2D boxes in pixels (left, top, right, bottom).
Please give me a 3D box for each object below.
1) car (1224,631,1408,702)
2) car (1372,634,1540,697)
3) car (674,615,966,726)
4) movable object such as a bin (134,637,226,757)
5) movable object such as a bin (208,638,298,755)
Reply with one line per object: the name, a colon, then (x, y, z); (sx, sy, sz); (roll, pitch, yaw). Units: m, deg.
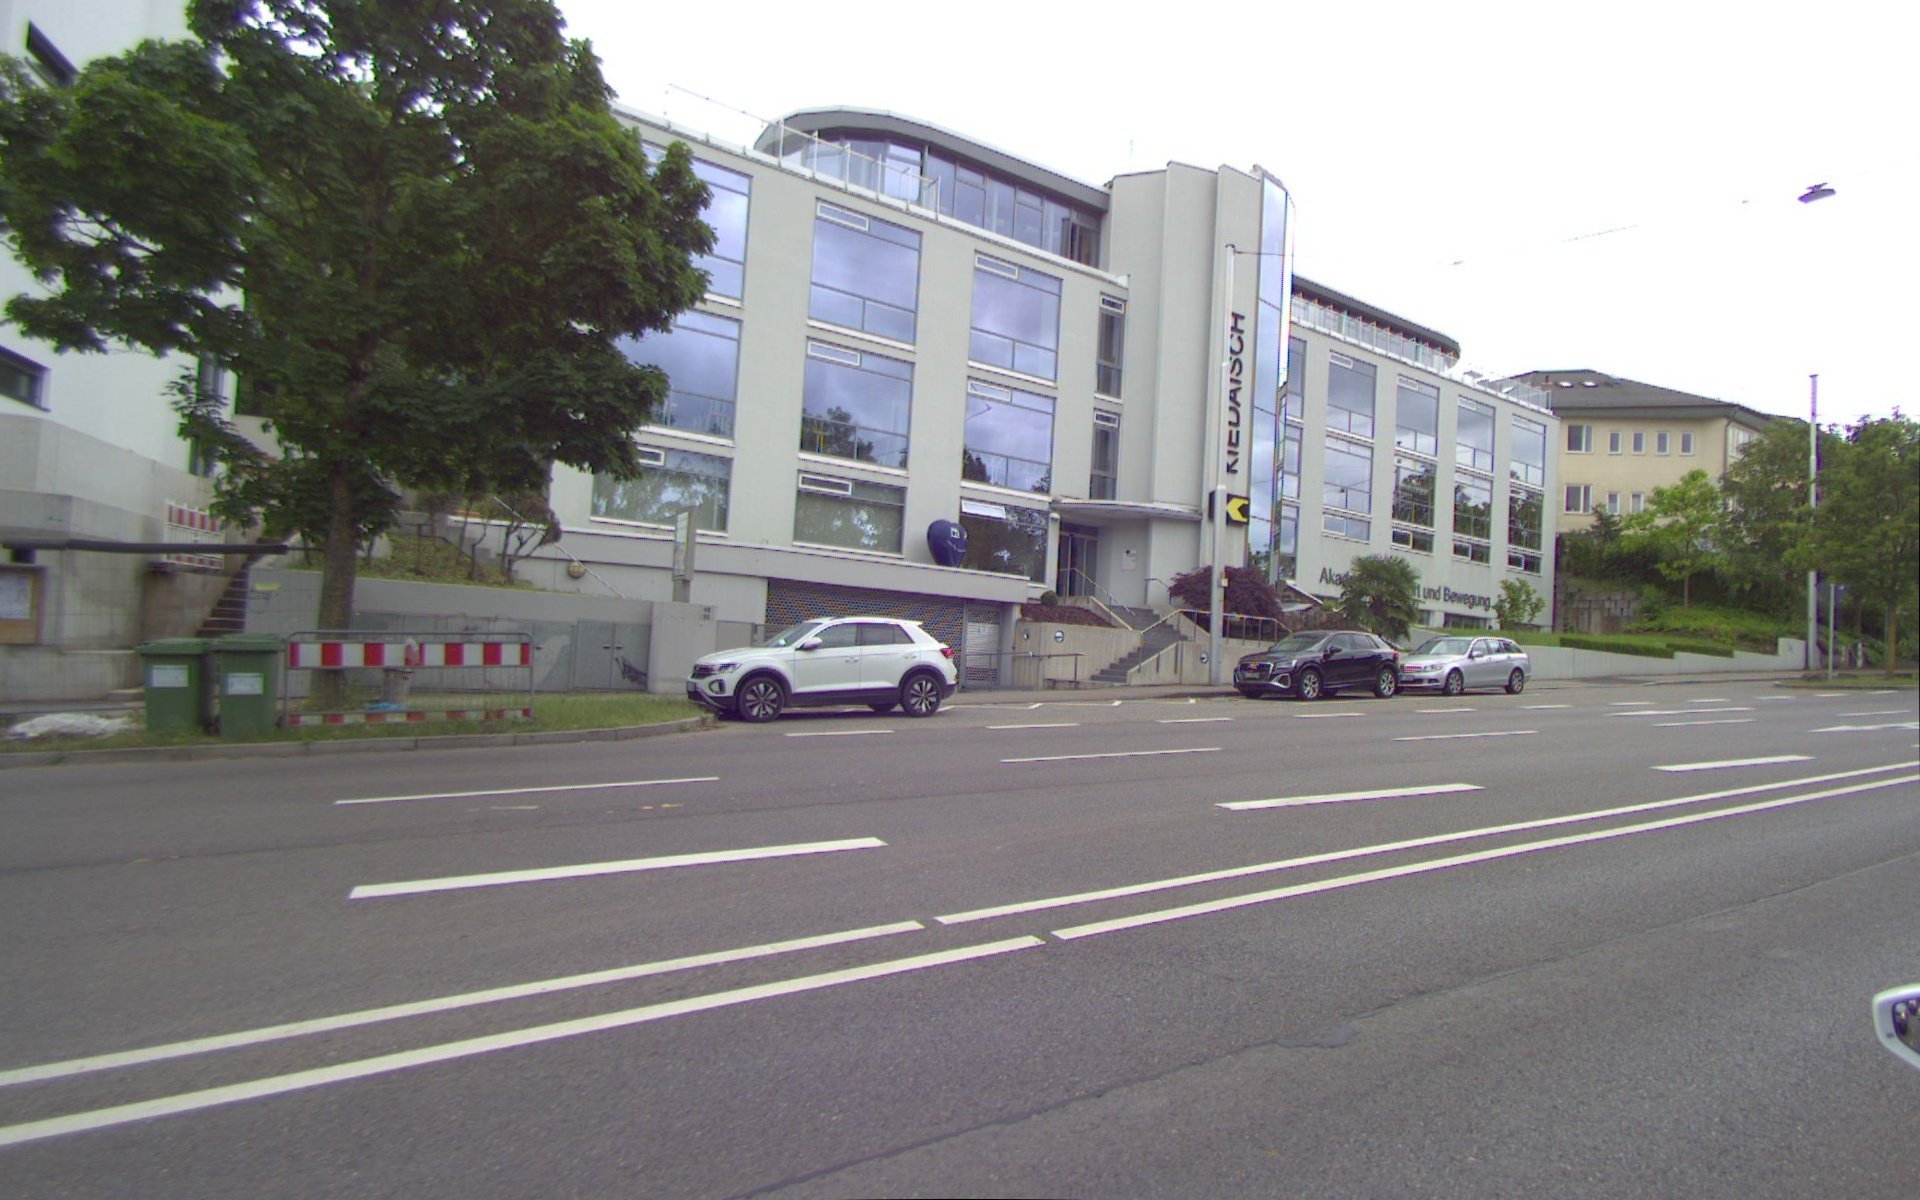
car: (7.942, 1.438, 22.334); (4.042, 1.447, 1.665); (2, -2, -30)
car: (12.458, 1.592, 25.159); (4.366, 1.447, 1.665); (2, -2, -30)
car: (-2.124, 1.052, 15.595); (4.186, 1.523, 1.661); (2, -2, -29)
movable object such as a bin: (-7.904, 0.966, 10.201); (0.577, 1.153, 0.583); (1, -1, -24)
movable object such as a bin: (-7.340, 0.981, 10.457); (0.636, 1.153, 0.586); (1, -1, -24)
